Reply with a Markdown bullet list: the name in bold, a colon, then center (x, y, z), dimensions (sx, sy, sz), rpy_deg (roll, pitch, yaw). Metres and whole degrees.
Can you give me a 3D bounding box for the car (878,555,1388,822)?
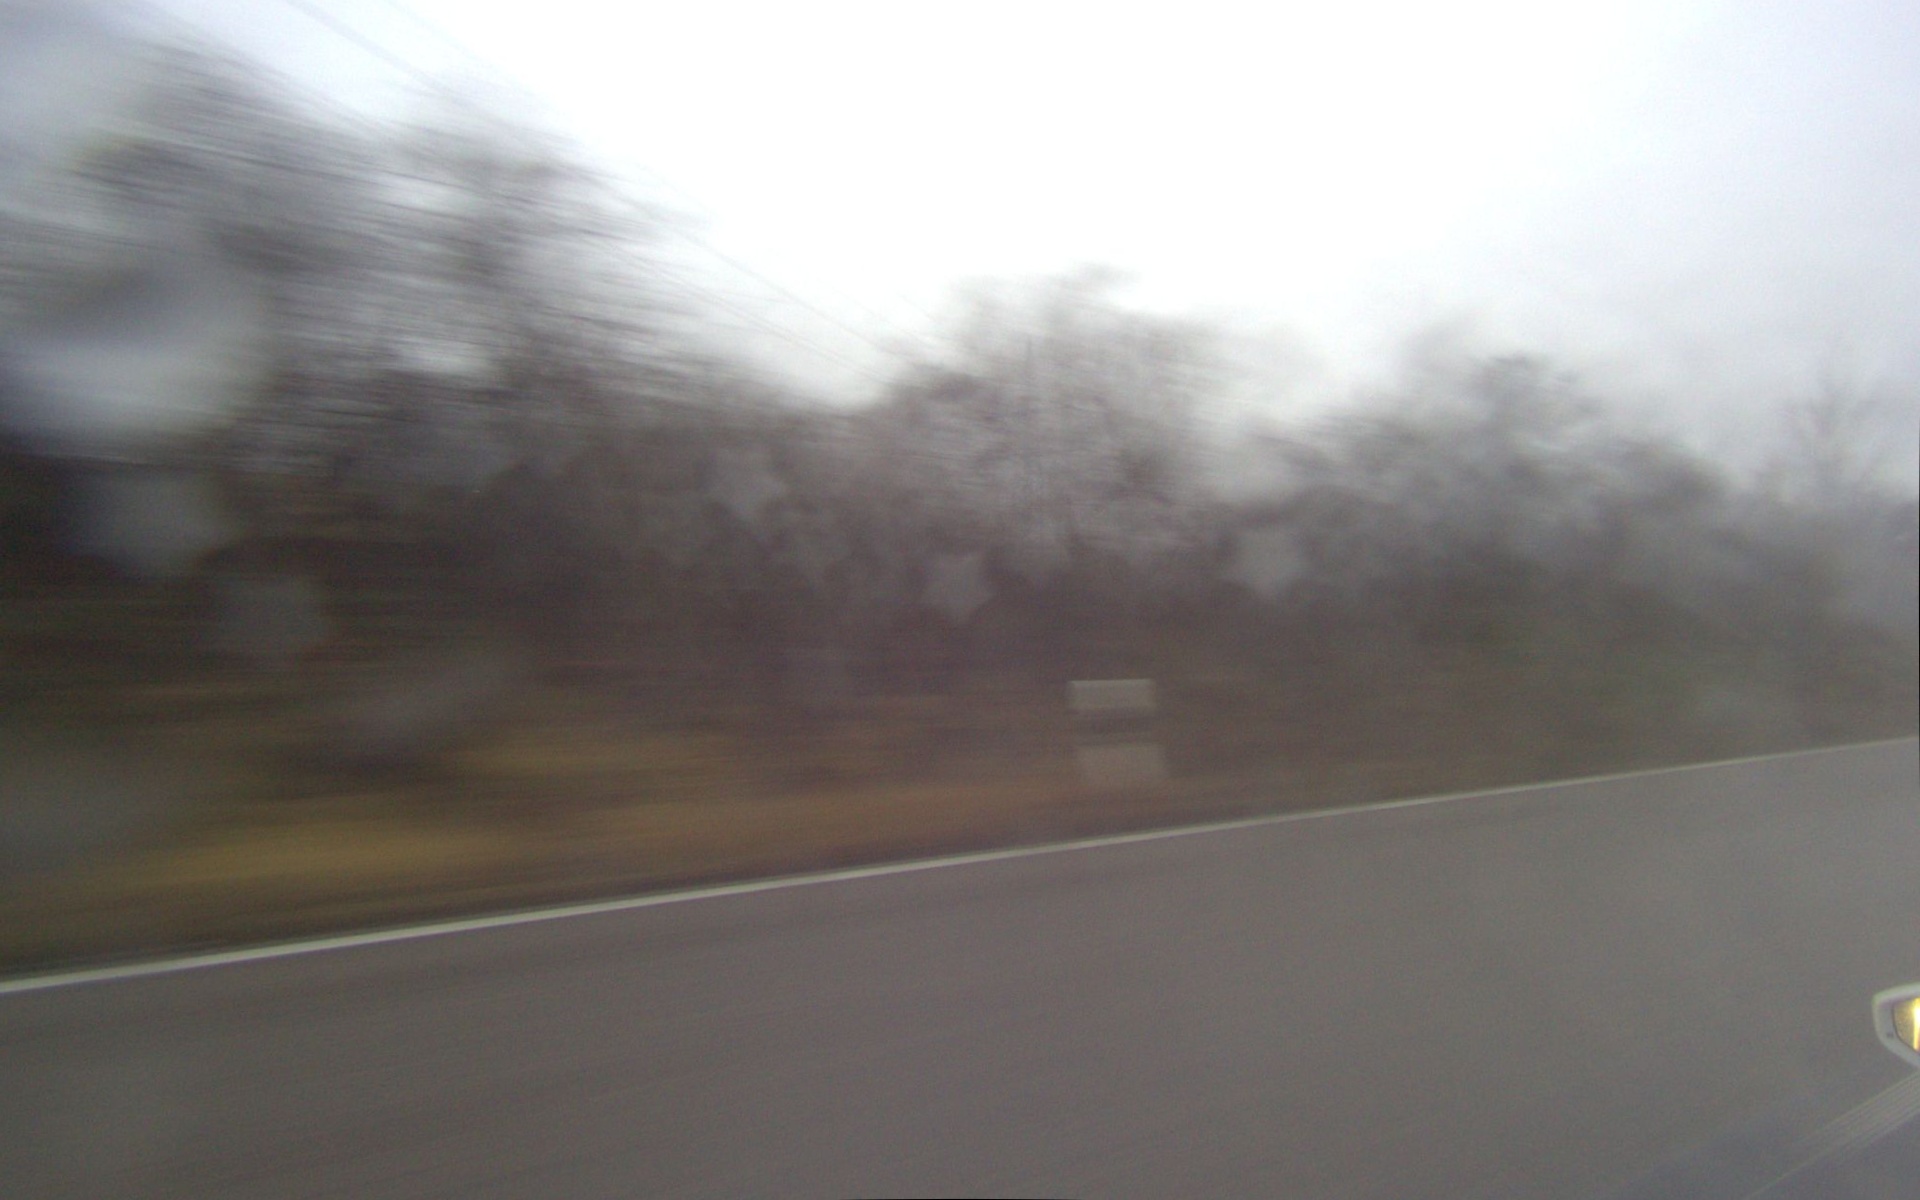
- **car**: center (1.520, 0.635, 8.652), dimensions (3.953, 1.808, 1.984), rpy_deg (2, 0, -30)
